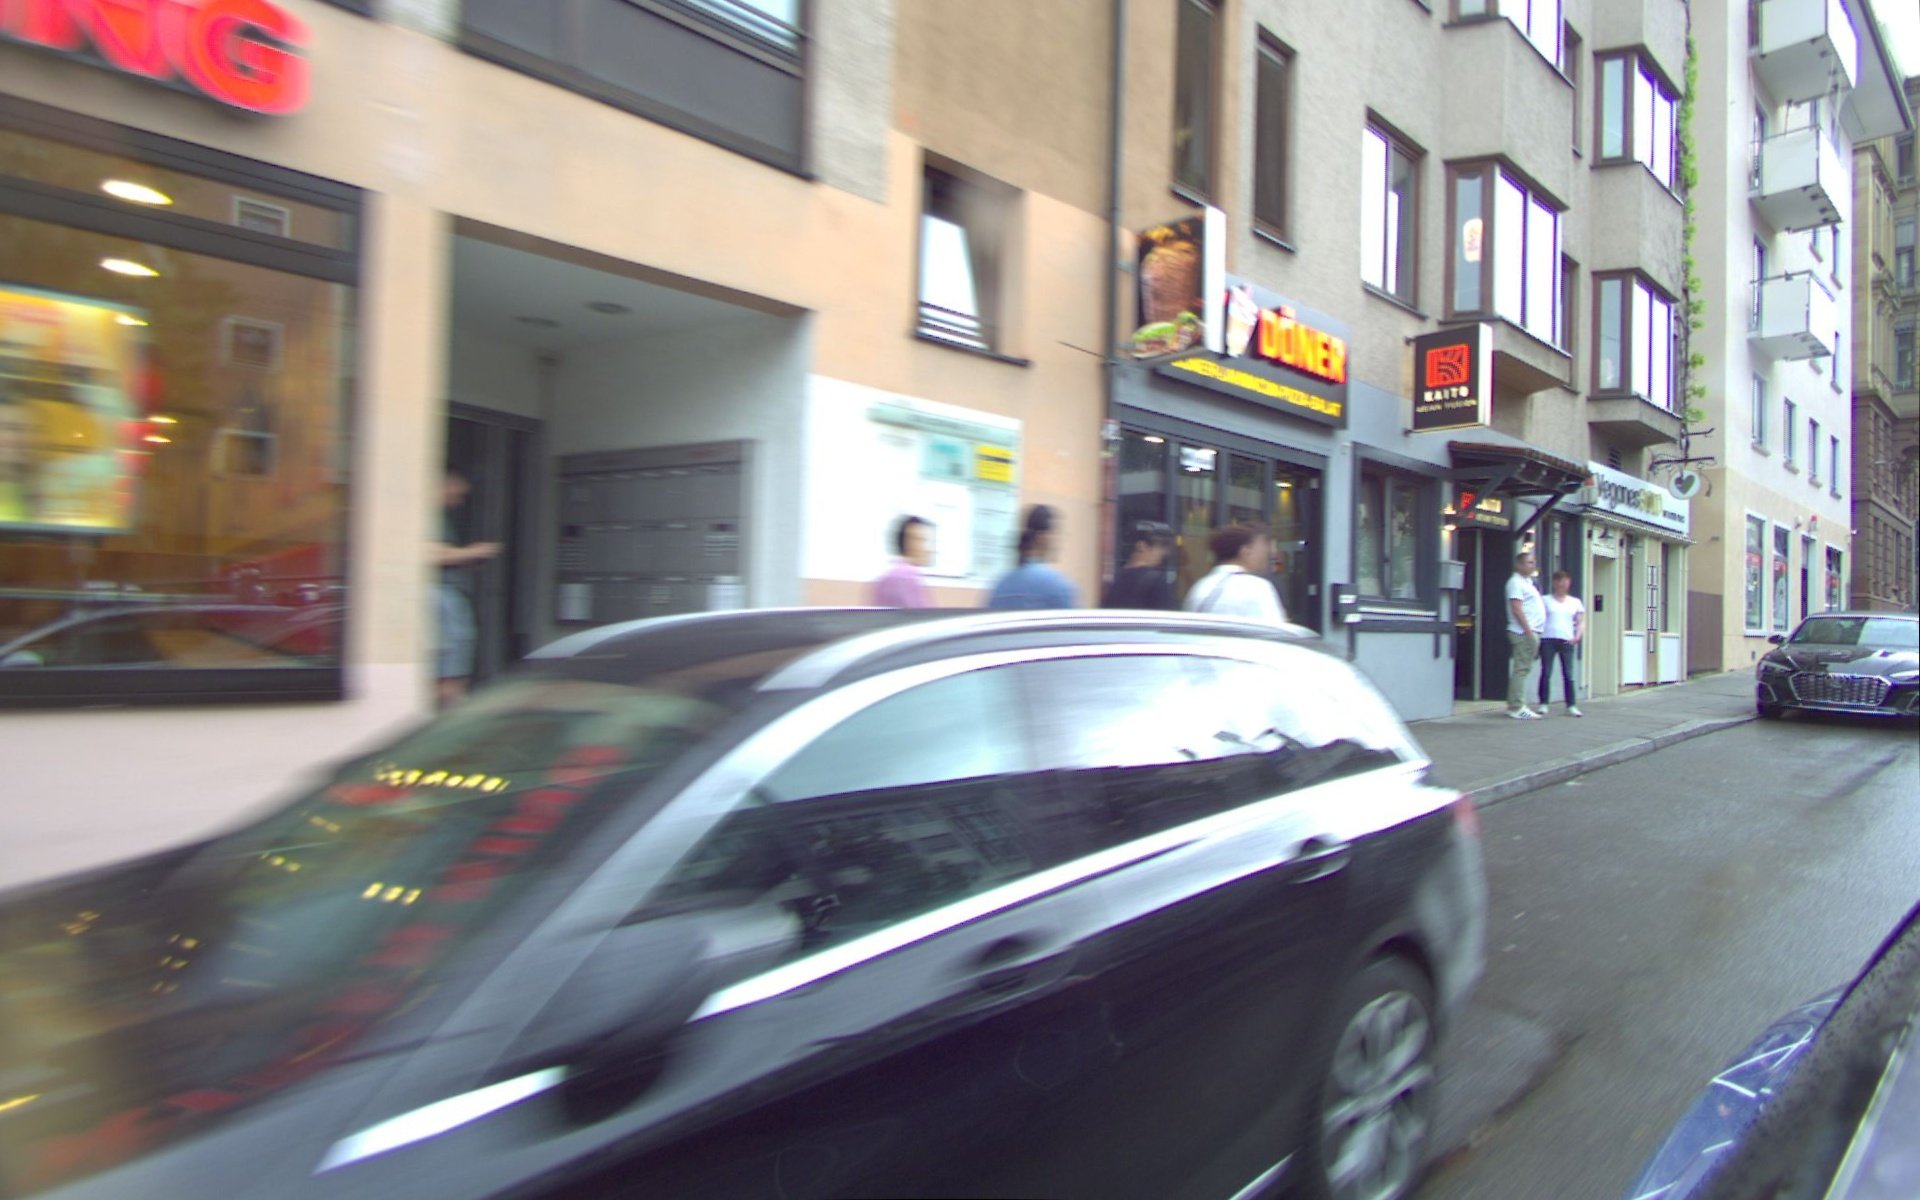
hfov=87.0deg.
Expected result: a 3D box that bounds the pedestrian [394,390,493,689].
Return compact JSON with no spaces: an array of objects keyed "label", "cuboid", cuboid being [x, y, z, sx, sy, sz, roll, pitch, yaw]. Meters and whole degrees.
[{"label":"pedestrian","cuboid":[-2.679,-0.301,5.244,0.367,1.471,0.359,0,1,-43]}]

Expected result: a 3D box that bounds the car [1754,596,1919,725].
[{"label":"car","cuboid":[12.458,0.710,13.756,4.172,1.480,1.910,0,1,-41]}]

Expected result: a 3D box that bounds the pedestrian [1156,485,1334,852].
[{"label":"pedestrian","cuboid":[1.584,0.343,5.646,0.641,1.878,0.697,0,1,-39]}]

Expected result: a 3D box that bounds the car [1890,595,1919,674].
[{"label":"car","cuboid":[19.439,0.646,19.638,3.354,1.480,1.648,0,1,-40]}]

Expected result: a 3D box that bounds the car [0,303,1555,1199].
[{"label":"car","cuboid":[-0.557,0.565,2.222,4.336,1.636,1.910,0,1,-40]}]

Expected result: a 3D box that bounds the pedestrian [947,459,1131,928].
[{"label":"pedestrian","cuboid":[0.354,0.386,4.674,0.524,1.972,0.653,0,1,-39]}]

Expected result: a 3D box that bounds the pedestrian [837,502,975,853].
[{"label":"pedestrian","cuboid":[-0.294,0.377,5.371,0.468,1.735,0.577,0,1,-39]}]

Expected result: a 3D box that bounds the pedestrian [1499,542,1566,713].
[{"label":"pedestrian","cuboid":[6.520,0.296,11.525,0.528,1.882,0.548,1,1,42]}]

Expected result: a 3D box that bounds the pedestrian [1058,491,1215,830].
[{"label":"pedestrian","cuboid":[0.969,0.301,5.588,0.570,1.735,0.612,0,1,-39]}]

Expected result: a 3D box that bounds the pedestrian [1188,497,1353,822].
[{"label":"pedestrian","cuboid":[1.899,0.329,6.224,0.577,1.842,0.757,0,1,-39]}]

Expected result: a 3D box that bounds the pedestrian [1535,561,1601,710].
[{"label":"pedestrian","cuboid":[7.193,0.397,11.968,0.544,1.701,0.587,1,1,42]}]
